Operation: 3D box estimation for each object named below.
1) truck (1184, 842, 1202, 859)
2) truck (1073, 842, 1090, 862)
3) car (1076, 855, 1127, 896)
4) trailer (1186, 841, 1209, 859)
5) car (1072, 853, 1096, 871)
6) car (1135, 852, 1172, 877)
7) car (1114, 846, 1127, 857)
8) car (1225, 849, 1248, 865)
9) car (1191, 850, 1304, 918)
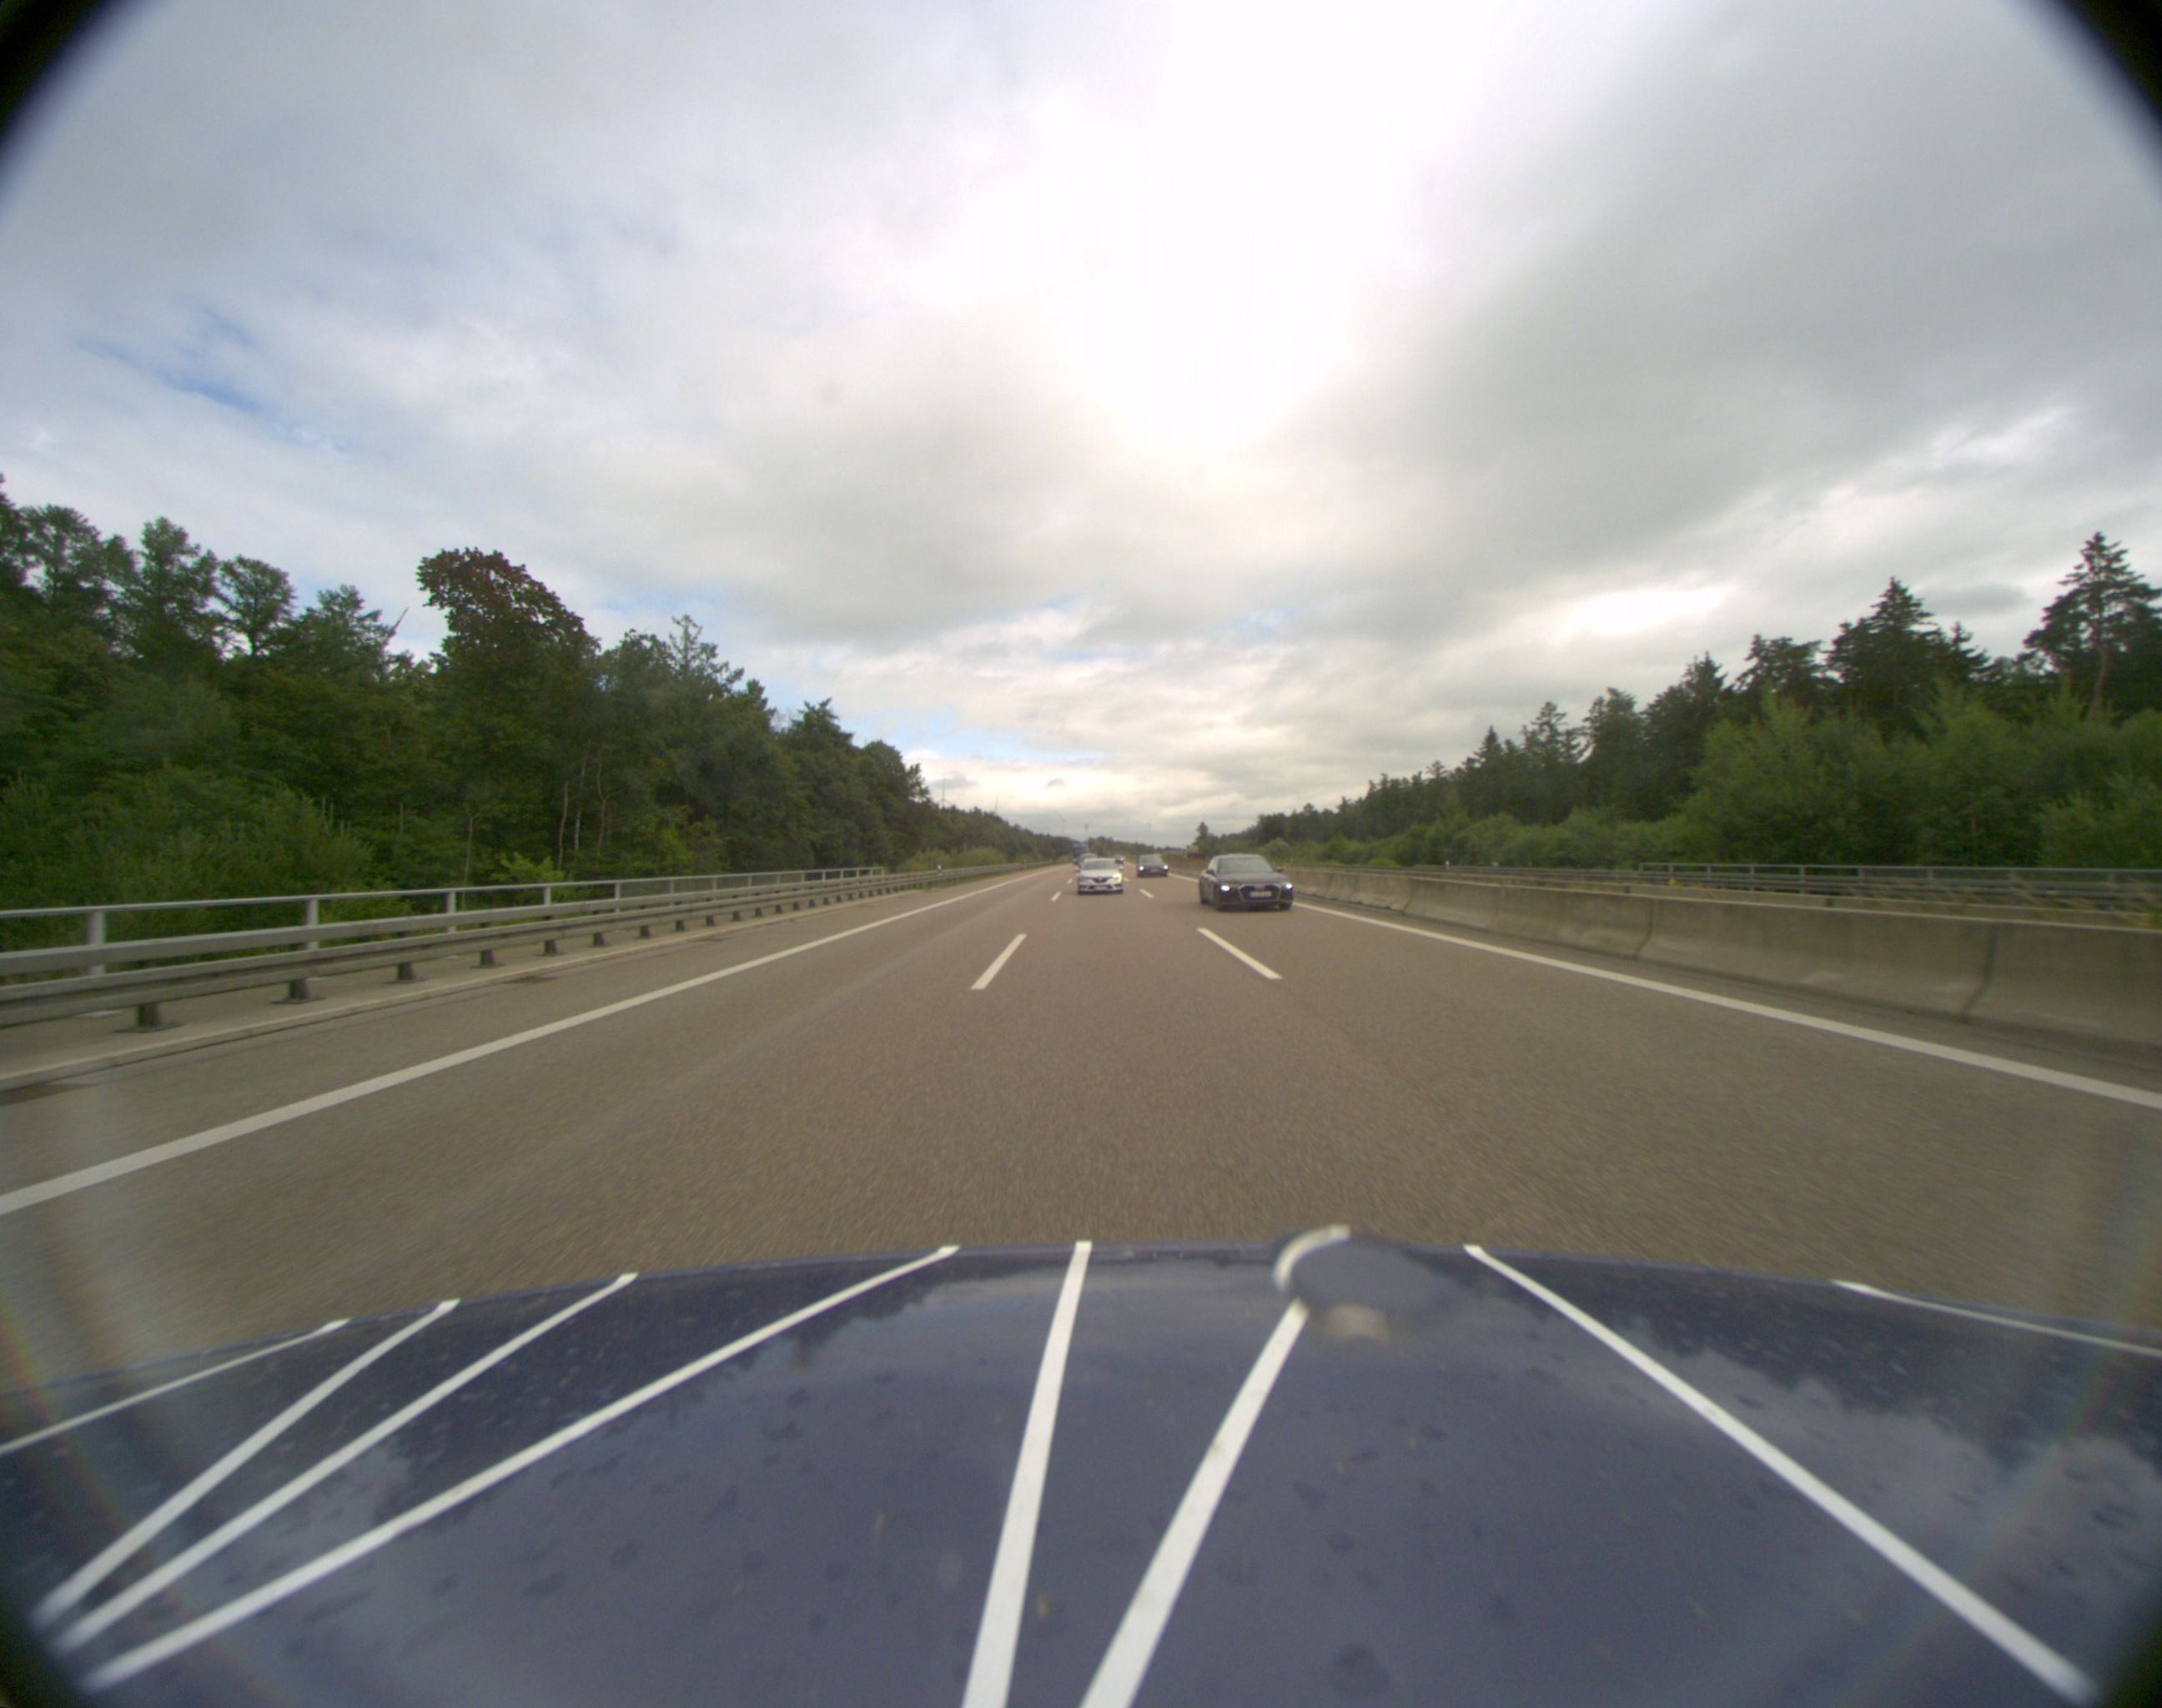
[{"bbox_3d":[23.890,-0.786,162.410,2.941,3.399,5.344,-2,0,2],"label":"truck"},{"bbox_3d":[0.172,-0.360,151.036,2.956,3.705,7.949,-5,0,1],"label":"truck"},{"bbox_3d":[0.874,0.834,31.525,1.923,1.516,4.000,-2,0,2],"label":"car"},{"bbox_3d":[23.659,-0.763,155.182,2.941,3.399,13.271,-2,0,2],"label":"trailer"},{"bbox_3d":[0.285,0.661,67.610,1.986,1.499,4.052,-2,0,2],"label":"car"},{"bbox_3d":[4.891,0.676,51.771,2.064,1.483,5.452,-2,0,1],"label":"car"},{"bbox_3d":[6.715,-0.475,130.330,1.998,1.689,5.252,-2,1,0],"label":"car"},{"bbox_3d":[22.298,0.410,109.419,2.260,2.002,5.268,-4,0,1],"label":"car"},{"bbox_3d":[4.408,0.711,21.136,2.090,1.541,5.675,-2,0,3],"label":"car"}]
